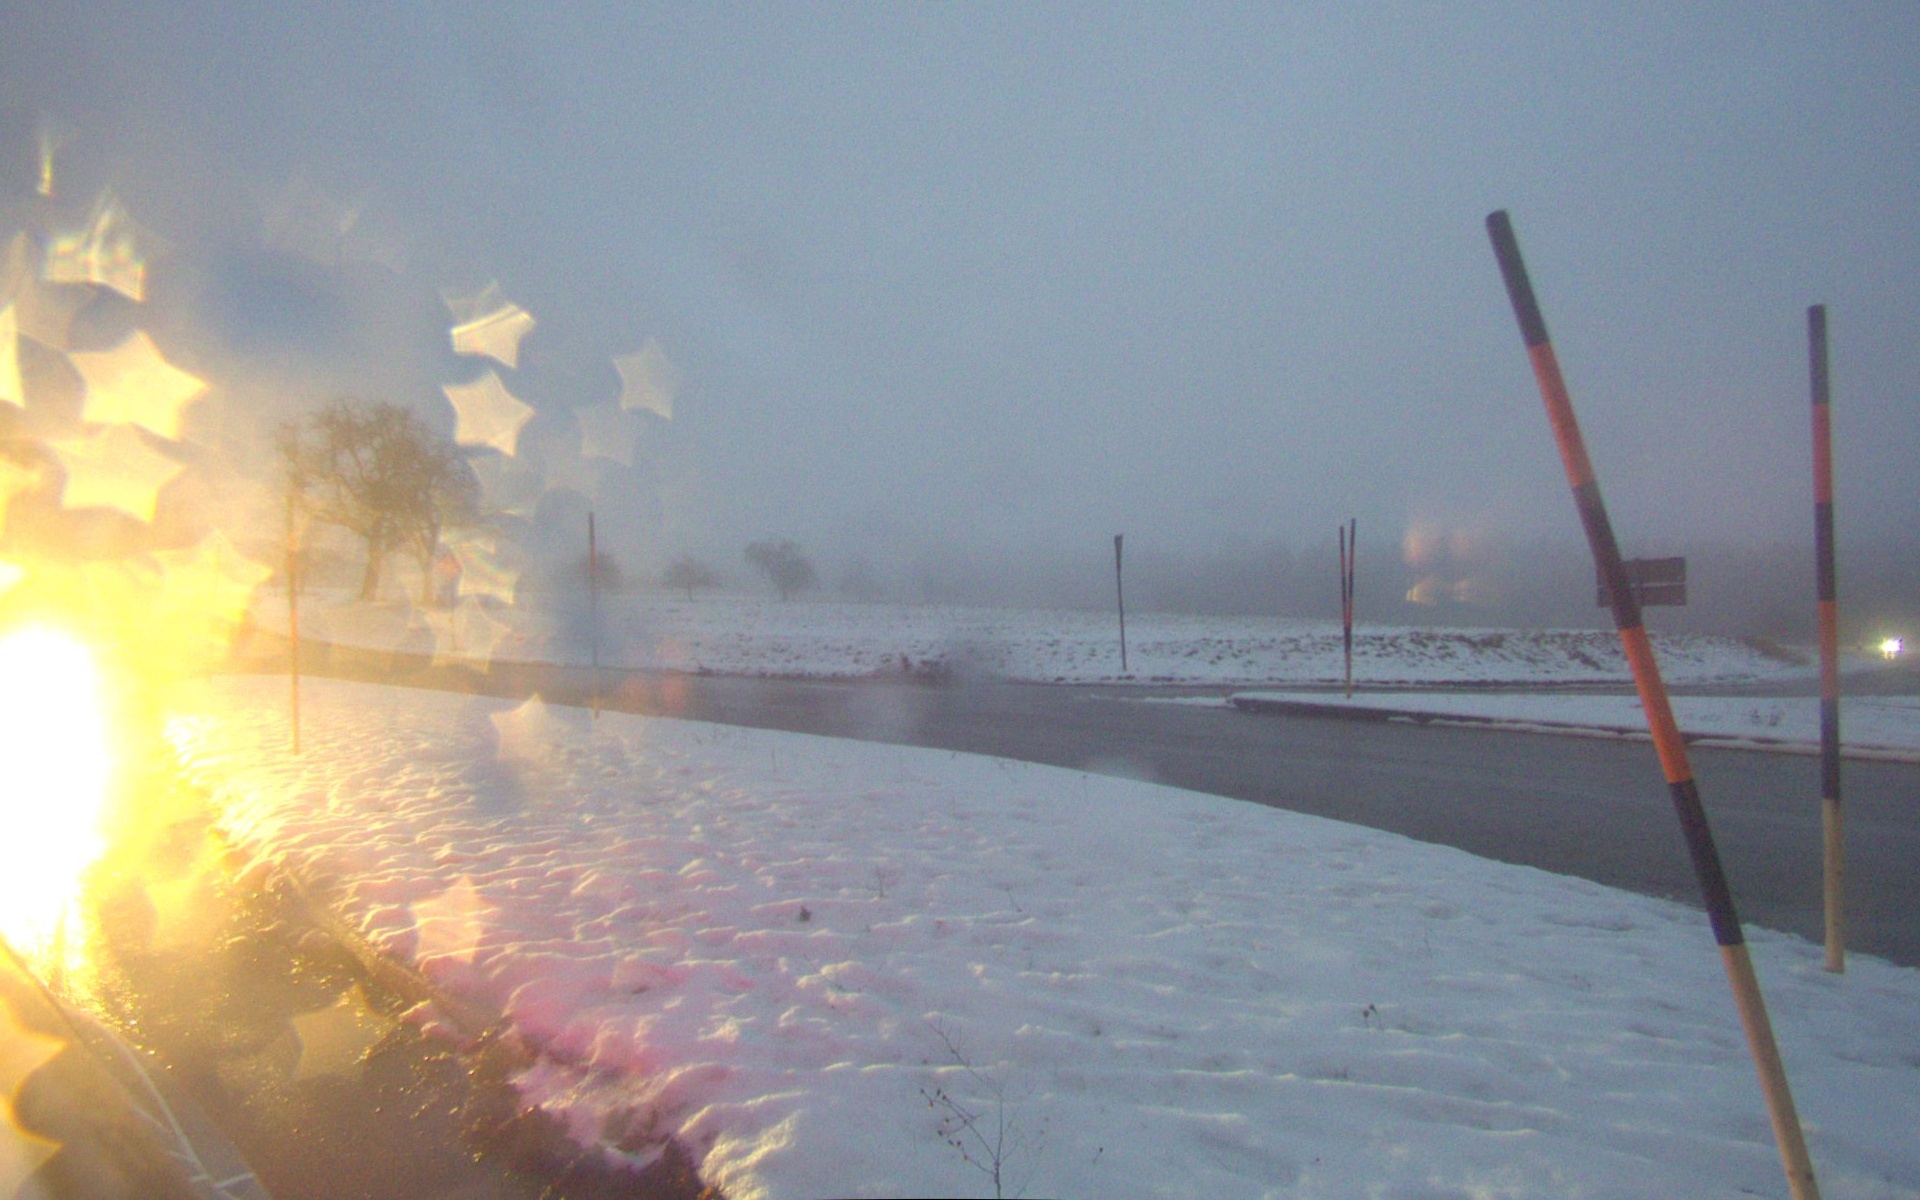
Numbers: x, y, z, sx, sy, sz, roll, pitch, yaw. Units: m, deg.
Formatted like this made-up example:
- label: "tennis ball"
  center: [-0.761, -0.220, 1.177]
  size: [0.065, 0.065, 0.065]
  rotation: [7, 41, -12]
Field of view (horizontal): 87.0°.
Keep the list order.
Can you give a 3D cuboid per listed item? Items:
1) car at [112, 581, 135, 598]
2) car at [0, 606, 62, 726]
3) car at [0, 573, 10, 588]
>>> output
- label: "car"
  center: [-93.675, -1.180, 113.325]
  size: [1.969, 1.820, 4.006]
  rotation: [-1, 1, -41]
- label: "car"
  center: [-13.066, 0.810, 13.323]
  size: [1.701, 1.445, 3.679]
  rotation: [-1, 0, -44]
- label: "car"
  center: [-118.408, -2.419, 124.187]
  size: [3.991, 1.820, 1.976]
  rotation: [0, 1, 35]
